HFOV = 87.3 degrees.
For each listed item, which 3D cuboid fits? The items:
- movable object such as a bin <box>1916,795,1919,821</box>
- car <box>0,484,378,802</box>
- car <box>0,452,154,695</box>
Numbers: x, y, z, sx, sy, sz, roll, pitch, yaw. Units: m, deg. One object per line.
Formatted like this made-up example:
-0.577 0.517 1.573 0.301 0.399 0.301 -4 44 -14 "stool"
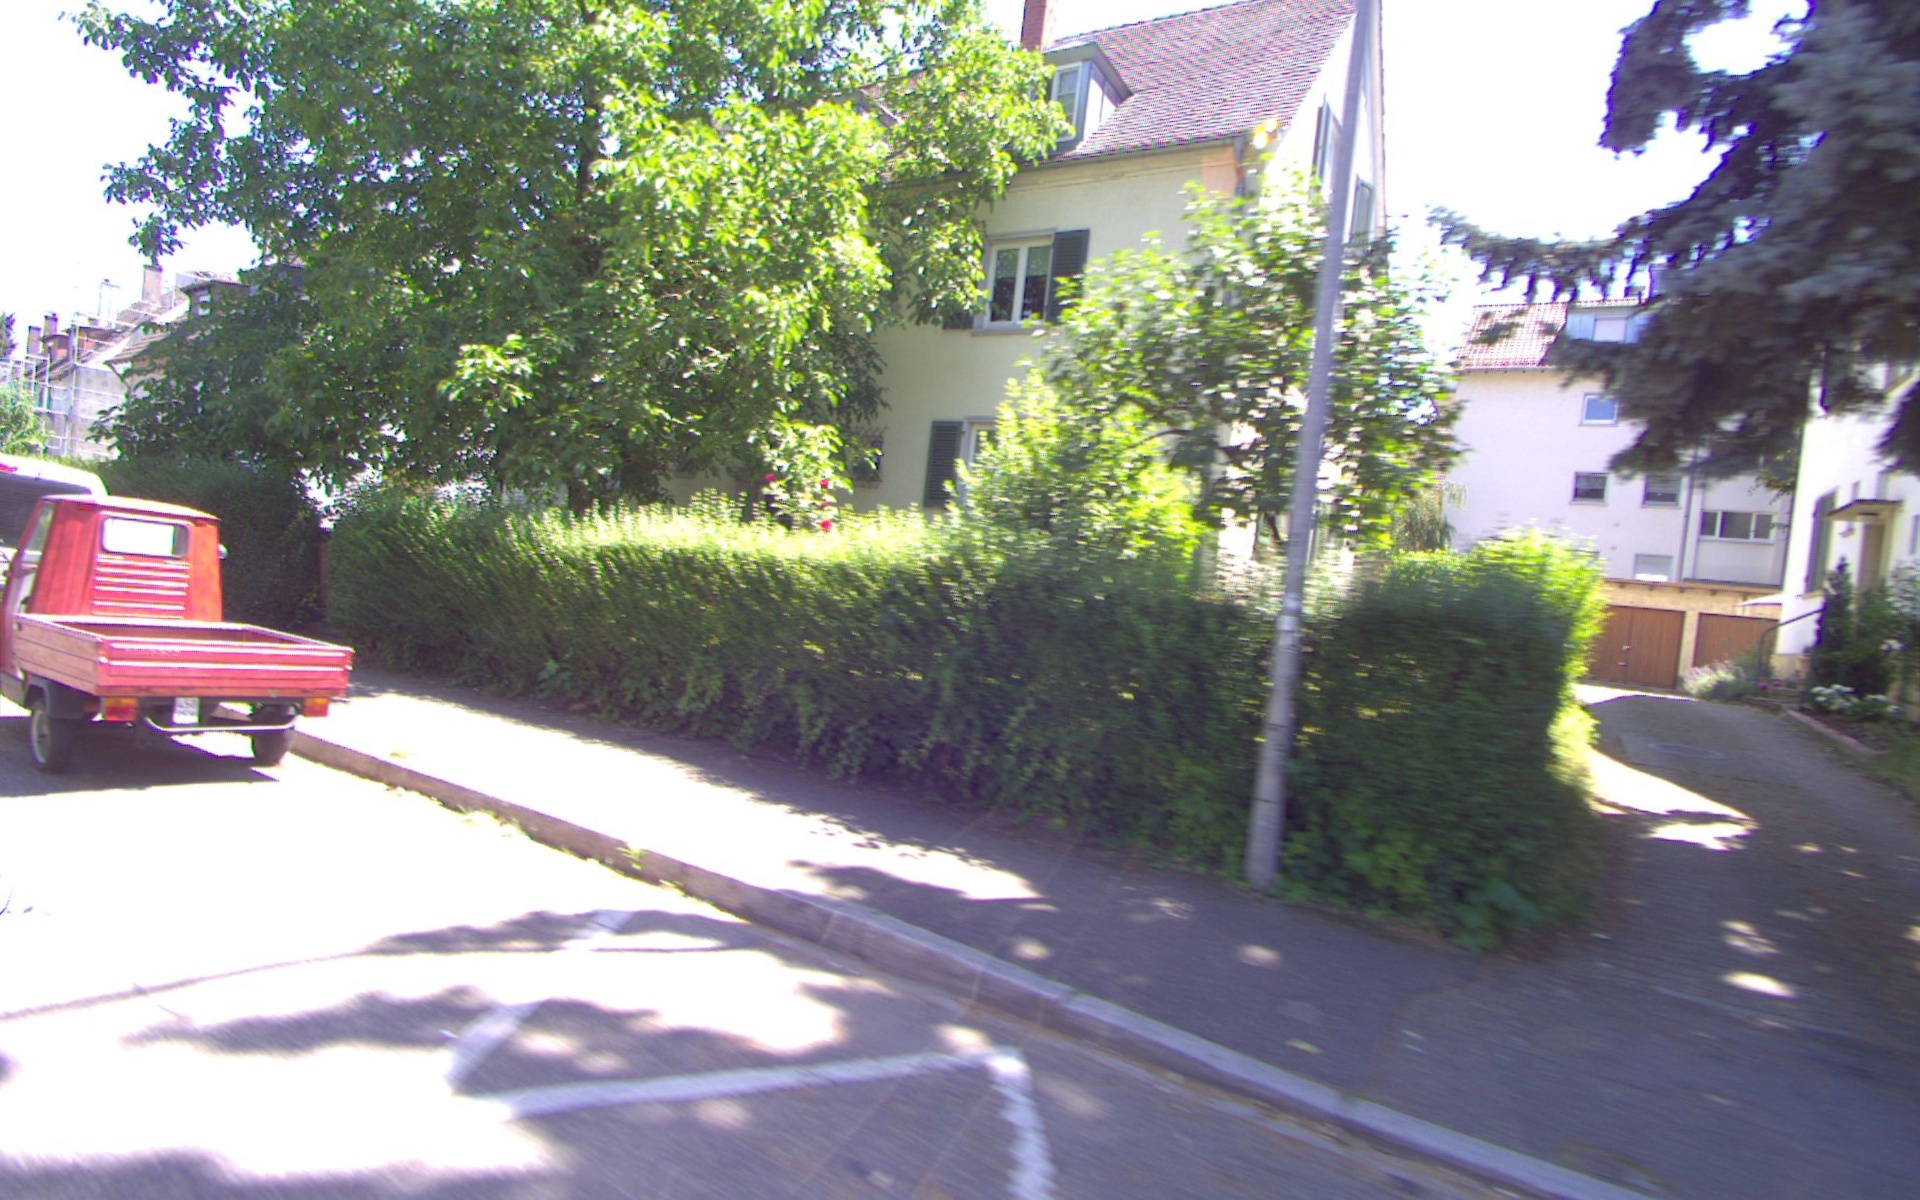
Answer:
8.084 1.204 7.829 0.620 1.264 0.545 5 4 15 "movable object such as a bin"
-4.995 0.177 6.204 2.665 1.513 1.262 7 -1 34 "car"
-9.067 -0.409 8.733 4.468 1.803 1.749 7 -1 32 "car"
